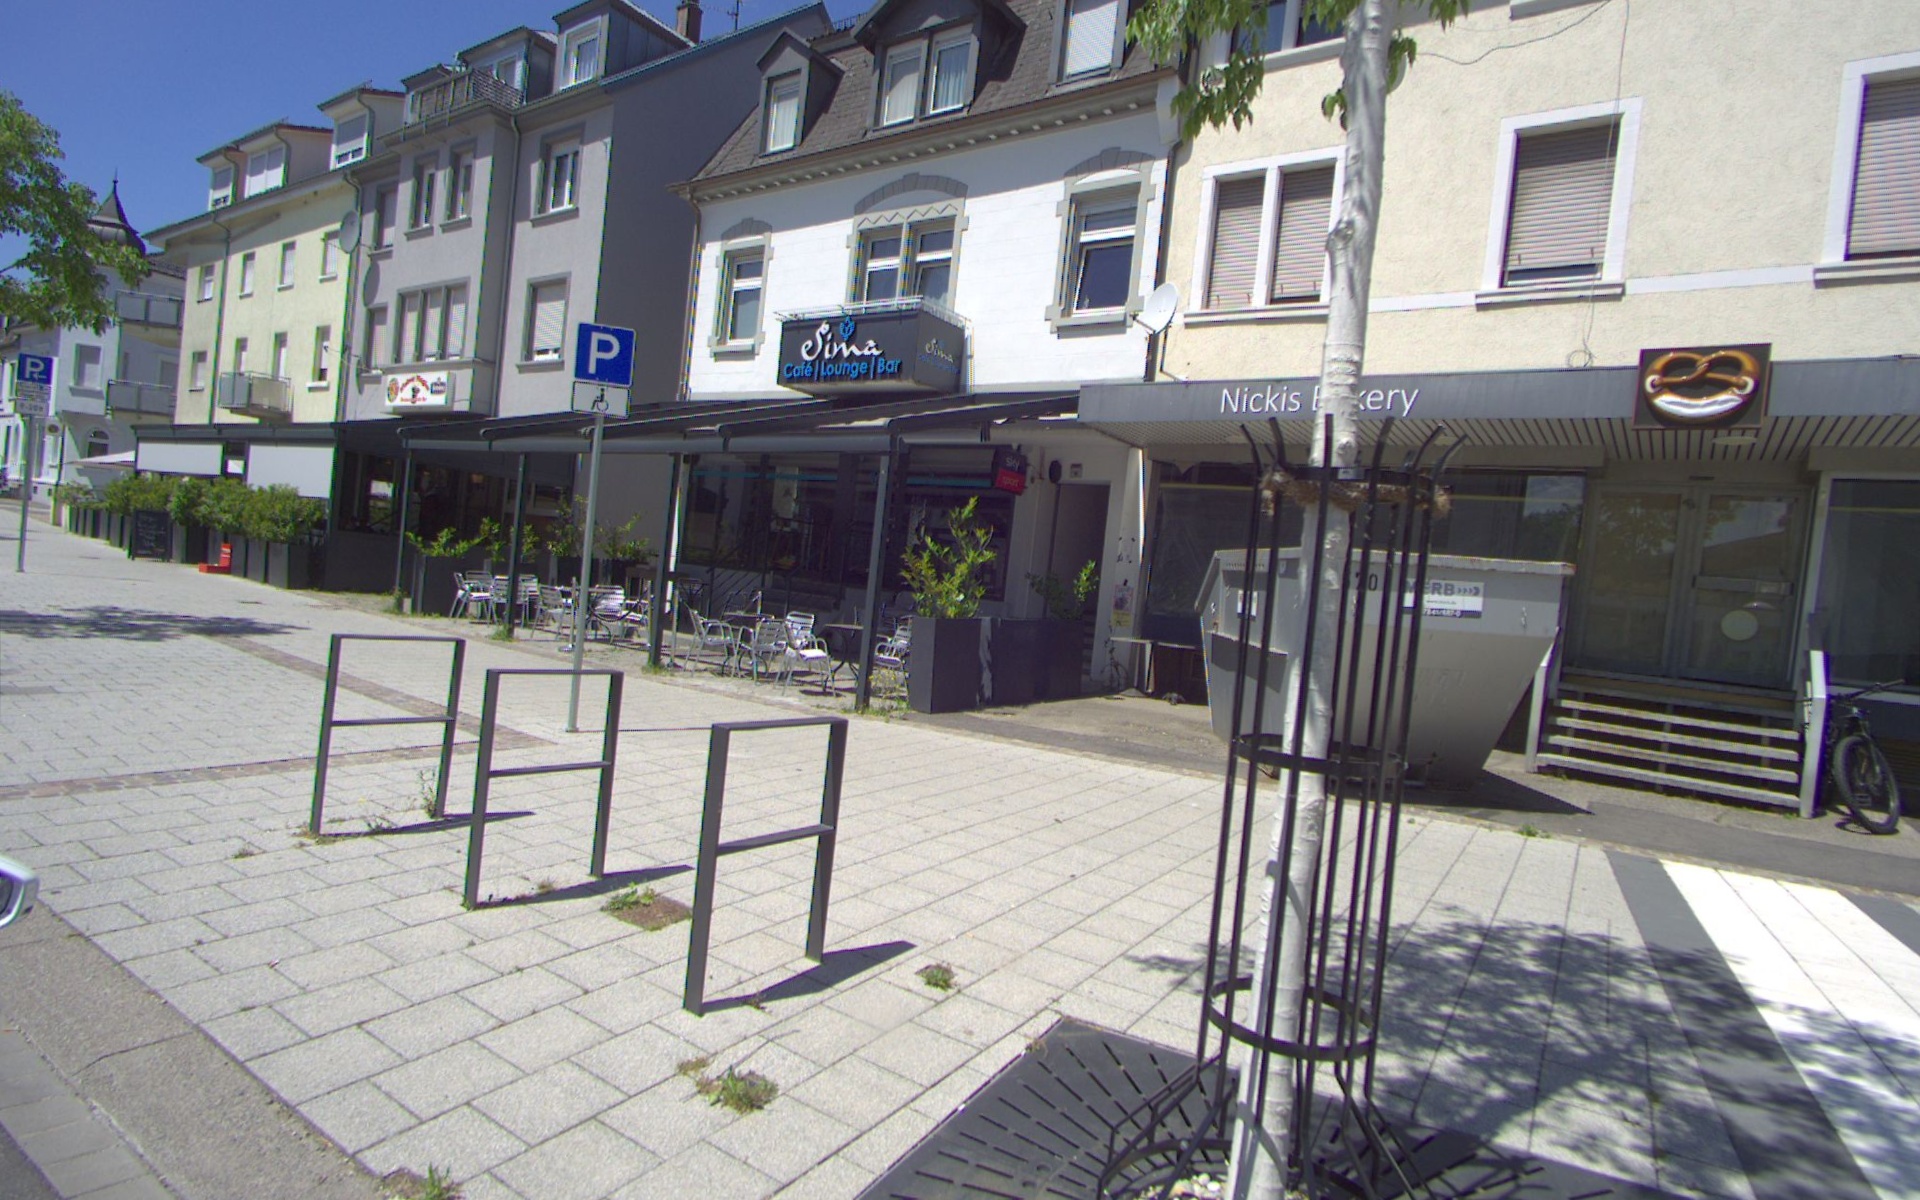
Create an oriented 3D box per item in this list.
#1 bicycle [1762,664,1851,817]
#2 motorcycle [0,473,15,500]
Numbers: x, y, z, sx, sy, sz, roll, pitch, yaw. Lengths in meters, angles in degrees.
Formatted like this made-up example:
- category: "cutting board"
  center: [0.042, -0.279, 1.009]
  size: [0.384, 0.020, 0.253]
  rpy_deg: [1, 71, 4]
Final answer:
- category: "bicycle"
  center: [7.376, 1.215, 8.748]
  size: [0.410, 1.198, 1.267]
  rpy_deg: [6, -1, 45]
- category: "motorcycle"
  center: [-48.084, -5.734, 49.289]
  size: [0.843, 1.291, 2.377]
  rpy_deg: [8, 0, 36]
